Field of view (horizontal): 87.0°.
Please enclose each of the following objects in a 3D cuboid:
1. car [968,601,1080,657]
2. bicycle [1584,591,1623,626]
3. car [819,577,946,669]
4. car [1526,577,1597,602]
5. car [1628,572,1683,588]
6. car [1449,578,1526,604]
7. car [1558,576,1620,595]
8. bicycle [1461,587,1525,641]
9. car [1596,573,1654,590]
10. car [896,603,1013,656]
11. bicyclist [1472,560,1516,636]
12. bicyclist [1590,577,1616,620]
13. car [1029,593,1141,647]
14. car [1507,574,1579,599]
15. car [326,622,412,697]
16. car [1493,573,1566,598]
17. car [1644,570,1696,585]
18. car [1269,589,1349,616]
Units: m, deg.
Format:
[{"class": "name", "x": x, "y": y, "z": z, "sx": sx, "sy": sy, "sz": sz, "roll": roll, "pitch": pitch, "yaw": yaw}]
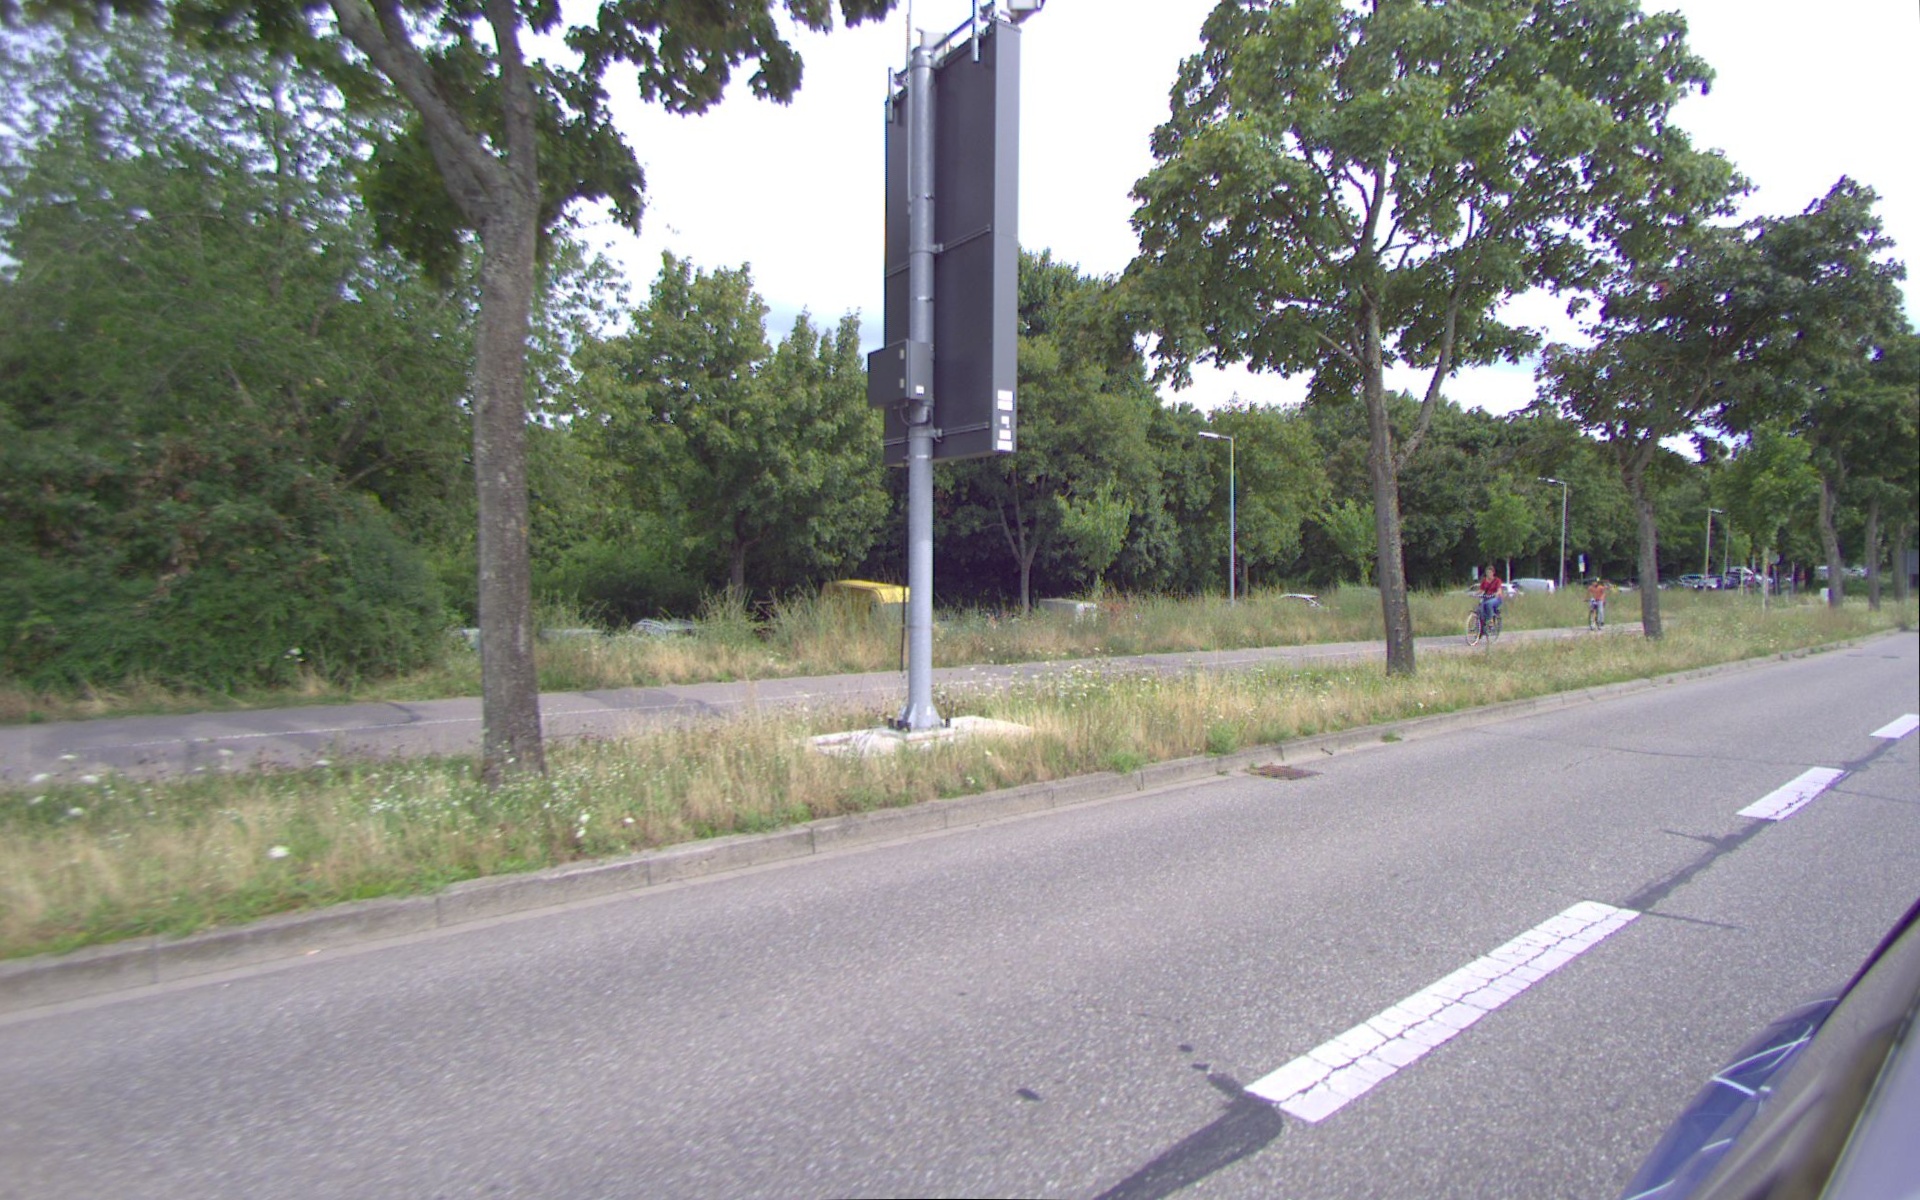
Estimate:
[{"class": "car", "x": 2.395, "y": 1.054, "z": 38.480, "sx": 1.966, "sy": 1.816, "sz": 3.994, "roll": -1, "pitch": 3, "yaw": -42}, {"class": "bicycle", "x": 19.543, "y": 0.247, "z": 30.718, "sx": 1.751, "sy": 0.976, "sz": 0.514, "roll": -1, "pitch": 3, "yaw": -42}, {"class": "car", "x": -2.592, "y": 0.639, "z": 32.818, "sx": 1.890, "sy": 2.703, "sz": 4.544, "roll": 0, "pitch": 2, "yaw": -37}, {"class": "car", "x": 42.631, "y": -0.782, "z": 71.804, "sx": 1.774, "sy": 1.605, "sz": 3.992, "roll": -1, "pitch": 3, "yaw": -43}, {"class": "car", "x": 64.755, "y": -1.864, "z": 94.242, "sx": 3.988, "sy": 1.383, "sz": 1.594, "roll": 3, "pitch": 3, "yaw": 44}, {"class": "car", "x": 33.084, "y": -0.601, "z": 63.559, "sx": 3.988, "sy": 1.461, "sz": 1.625, "roll": 3, "pitch": 3, "yaw": 44}, {"class": "car", "x": 50.750, "y": -1.153, "z": 81.700, "sx": 3.988, "sy": 1.383, "sz": 1.594, "roll": 3, "pitch": 3, "yaw": 44}, {"class": "bicycle", "x": 12.098, "y": 0.294, "z": 22.955, "sx": 2.193, "sy": 1.162, "sz": 0.514, "roll": -1, "pitch": 3, "yaw": -42}, {"class": "car", "x": 57.851, "y": -1.633, "z": 88.128, "sx": 3.988, "sy": 1.383, "sz": 1.594, "roll": 3, "pitch": 3, "yaw": 44}, {"class": "car", "x": -0.243, "y": 0.962, "z": 34.981, "sx": 1.964, "sy": 1.526, "sz": 3.997, "roll": -1, "pitch": 3, "yaw": -39}, {"class": "bicyclist", "x": 12.077, "y": -0.058, "z": 22.875, "sx": 0.767, "sy": 1.678, "sz": 0.653, "roll": -1, "pitch": 1, "yaw": -41}, {"class": "bicyclist", "x": 19.456, "y": -0.050, "z": 30.620, "sx": 0.442, "sy": 1.298, "sz": 0.539, "roll": -1, "pitch": 1, "yaw": -41}, {"class": "car", "x": 4.830, "y": 0.733, "z": 39.508, "sx": 1.966, "sy": 1.816, "sz": 3.994, "roll": -1, "pitch": 3, "yaw": -42}, {"class": "car", "x": 40.713, "y": -0.965, "z": 70.716, "sx": 1.774, "sy": 1.605, "sz": 3.992, "roll": -1, "pitch": 3, "yaw": -43}, {"class": "car", "x": -14.329, "y": 1.360, "z": 24.446, "sx": 1.656, "sy": 1.396, "sz": 3.766, "roll": 0, "pitch": 3, "yaw": -32}, {"class": "car", "x": 38.437, "y": -1.015, "z": 68.364, "sx": 3.988, "sy": 1.574, "sz": 1.625, "roll": 3, "pitch": 3, "yaw": 44}, {"class": "car", "x": 69.971, "y": -2.201, "z": 99.778, "sx": 3.988, "sy": 1.383, "sz": 1.594, "roll": 3, "pitch": 3, "yaw": 44}, {"class": "car", "x": 16.945, "y": 0.103, "z": 49.173, "sx": 3.438, "sy": 1.205, "sz": 1.337, "roll": 2, "pitch": 2, "yaw": 44}]
